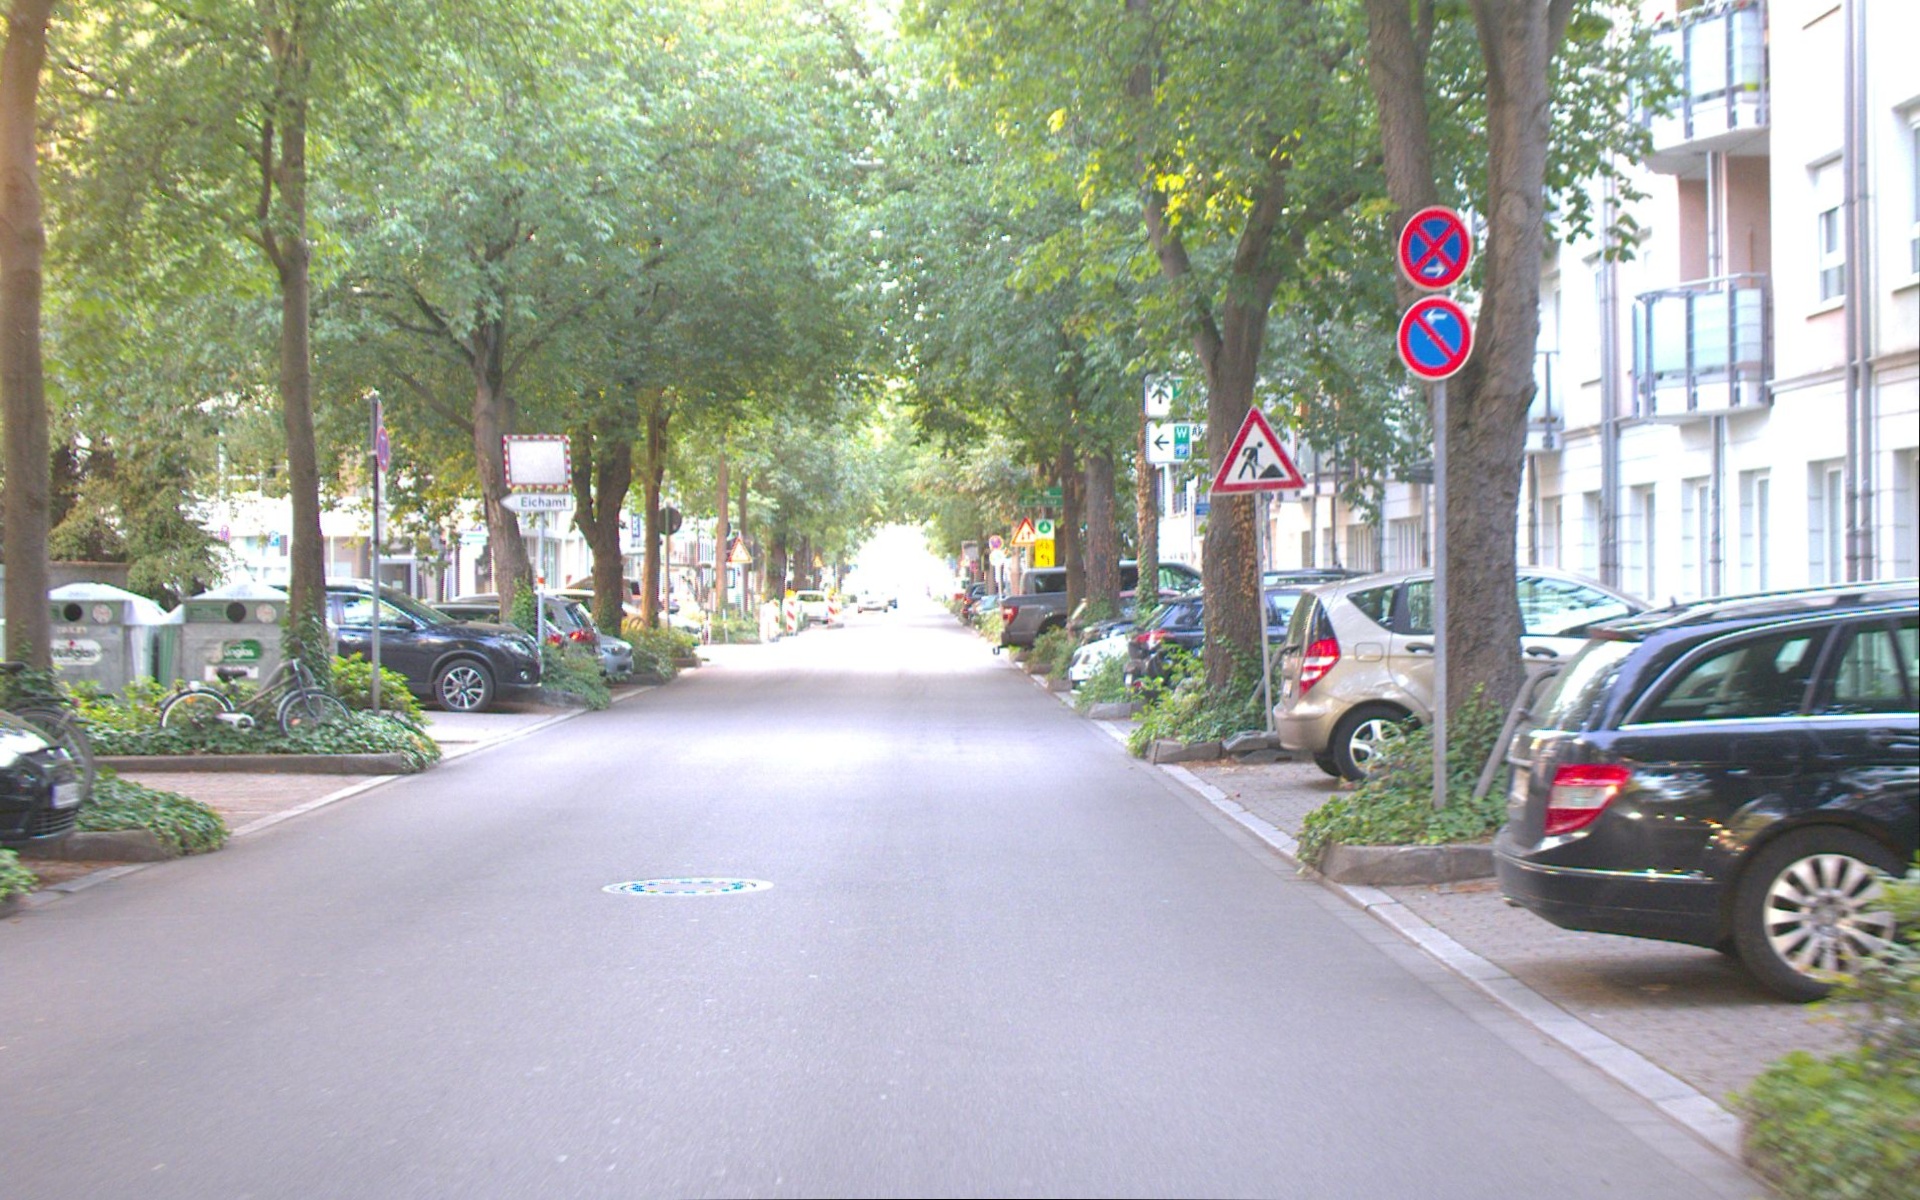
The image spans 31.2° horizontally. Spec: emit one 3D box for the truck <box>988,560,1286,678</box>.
[{"bbox_3d":[3.517,0.375,69.275,5.887,2.303,2.212,0,0,0],"label":"truck"}]

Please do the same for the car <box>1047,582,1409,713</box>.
[{"bbox_3d":[3.551,0.627,46.058,4.599,1.463,1.796,-3,0,-1],"label":"car"}]

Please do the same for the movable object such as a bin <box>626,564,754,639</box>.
[{"bbox_3d":[-8.811,0.046,111.867,4.045,2.375,2.785,-1,0,-6],"label":"movable object such as a bin"}]

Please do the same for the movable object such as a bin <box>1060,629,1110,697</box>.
[{"bbox_3d":[2.075,1.044,57.086,0.760,1.080,0.785,-2,0,0],"label":"movable object such as a bin"}]

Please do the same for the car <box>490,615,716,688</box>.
[{"bbox_3d":[-7.653,1.099,74.012,4.619,1.547,2.075,0,0,2],"label":"car"}]

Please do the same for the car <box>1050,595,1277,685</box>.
[{"bbox_3d":[3.500,0.683,59.653,3.776,1.539,1.877,0,0,-2],"label":"car"}]

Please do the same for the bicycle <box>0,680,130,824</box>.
[{"bbox_3d":[-5.781,0.897,20.410,1.553,0.828,0.613,0,0,3],"label":"bicycle"}]

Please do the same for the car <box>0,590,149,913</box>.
[{"bbox_3d":[-6.997,0.770,18.276,4.852,1.616,2.160,0,0,0],"label":"car"}]

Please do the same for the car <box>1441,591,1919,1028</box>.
[{"bbox_3d":[4.146,0.652,12.788,4.459,1.422,2.011,-3,0,4],"label":"car"}]

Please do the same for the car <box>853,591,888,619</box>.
[{"bbox_3d":[-5.297,0.290,203.063,2.009,1.607,4.120,0,0,-2],"label":"car"}]

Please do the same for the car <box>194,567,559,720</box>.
[{"bbox_3d":[-7.618,0.563,45.194,4.504,1.949,2.000,0,0,-2],"label":"car"}]

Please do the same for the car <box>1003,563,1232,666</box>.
[{"bbox_3d":[3.262,0.294,72.016,4.600,2.059,2.197,-1,0,-2],"label":"car"}]

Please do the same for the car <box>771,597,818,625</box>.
[{"bbox_3d":[-7.564,0.500,156.747,1.993,1.284,4.001,0,0,-5],"label":"car"}]

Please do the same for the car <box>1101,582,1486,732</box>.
[{"bbox_3d":[3.834,0.644,39.971,4.082,1.446,1.935,-4,0,-6],"label":"car"}]

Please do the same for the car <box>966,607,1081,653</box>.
[{"bbox_3d":[2.223,1.049,120.677,3.987,1.579,2.000,0,0,1],"label":"car"}]

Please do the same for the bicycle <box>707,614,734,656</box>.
[{"bbox_3d":[-6.785,0.983,97.366,0.683,1.149,1.981,-1,0,-6],"label":"bicycle"}]

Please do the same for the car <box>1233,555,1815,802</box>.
[{"bbox_3d":[4.177,0.575,25.924,3.969,1.580,1.916,-3,0,-1],"label":"car"}]

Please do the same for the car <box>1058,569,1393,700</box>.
[{"bbox_3d":[3.916,0.509,51.234,4.641,1.612,2.010,-4,0,-4],"label":"car"}]

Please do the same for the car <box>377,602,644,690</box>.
[{"bbox_3d":[-7.563,0.766,58.136,4.287,1.425,1.879,0,0,-1],"label":"car"}]

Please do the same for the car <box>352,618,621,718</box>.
[{"bbox_3d":[-7.614,1.085,55.506,3.987,1.560,1.929,0,0,5],"label":"car"}]

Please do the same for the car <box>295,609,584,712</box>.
[{"bbox_3d":[-7.597,0.871,50.460,3.986,1.459,1.922,0,0,-2],"label":"car"}]
